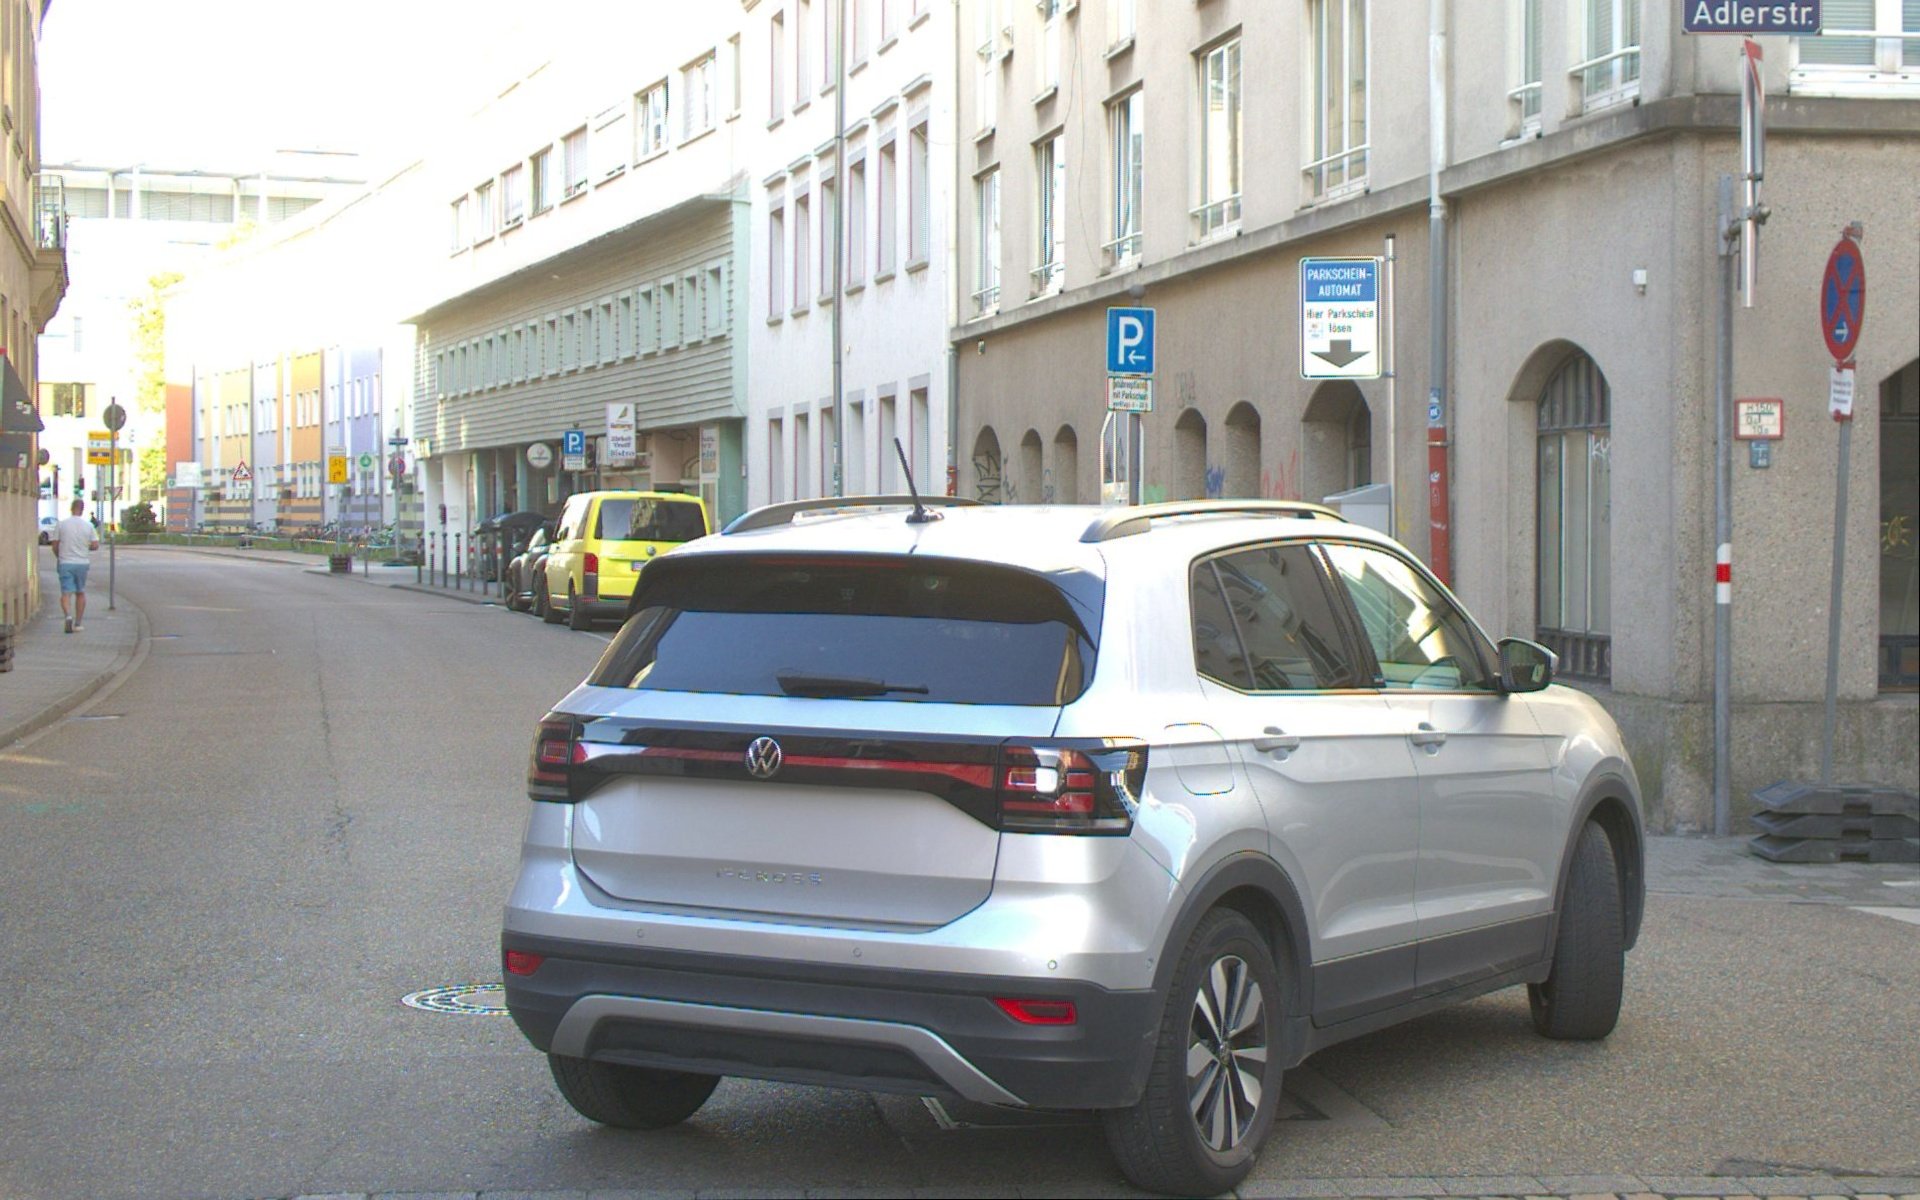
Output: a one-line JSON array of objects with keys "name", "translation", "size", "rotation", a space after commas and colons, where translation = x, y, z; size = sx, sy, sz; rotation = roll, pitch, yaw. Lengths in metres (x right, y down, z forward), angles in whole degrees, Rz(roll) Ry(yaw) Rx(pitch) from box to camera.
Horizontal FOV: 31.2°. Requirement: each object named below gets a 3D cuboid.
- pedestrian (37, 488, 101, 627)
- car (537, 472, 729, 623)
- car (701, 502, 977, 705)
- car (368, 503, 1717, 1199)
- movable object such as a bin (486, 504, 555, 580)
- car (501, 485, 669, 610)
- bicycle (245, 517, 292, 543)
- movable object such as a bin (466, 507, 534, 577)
[{"name": "pedestrian", "translation": [-11.131, -0.530, 42.926], "size": [0.765, 1.718, 0.687], "rotation": [0, 1, -15]}, {"name": "car", "translation": [-4.592, -0.756, 47.770], "size": [2.052, 2.006, 4.176], "rotation": [0, 2, -14]}, {"name": "car", "translation": [-1.181, -0.022, 31.405], "size": [1.967, 1.686, 4.102], "rotation": [1, 1, -9]}, {"name": "car", "translation": [0.466, 0.534, 9.099], "size": [1.840, 1.557, 3.993], "rotation": [1, 2, 31]}, {"name": "movable object such as a bin", "translation": [-9.206, -1.221, 71.876], "size": [1.131, 1.552, 1.740], "rotation": [0, 1, -18]}, {"name": "car", "translation": [-5.880, -0.843, 53.522], "size": [2.052, 1.866, 4.102], "rotation": [0, 2, -14]}, {"name": "bicycle", "translation": [-27.333, -2.776, 135.813], "size": [1.780, 0.997, 0.547], "rotation": [0, 1, -15]}, {"name": "movable object such as a bin", "translation": [-9.849, -1.246, 73.562], "size": [1.131, 1.474, 1.740], "rotation": [0, 1, -18]}]
